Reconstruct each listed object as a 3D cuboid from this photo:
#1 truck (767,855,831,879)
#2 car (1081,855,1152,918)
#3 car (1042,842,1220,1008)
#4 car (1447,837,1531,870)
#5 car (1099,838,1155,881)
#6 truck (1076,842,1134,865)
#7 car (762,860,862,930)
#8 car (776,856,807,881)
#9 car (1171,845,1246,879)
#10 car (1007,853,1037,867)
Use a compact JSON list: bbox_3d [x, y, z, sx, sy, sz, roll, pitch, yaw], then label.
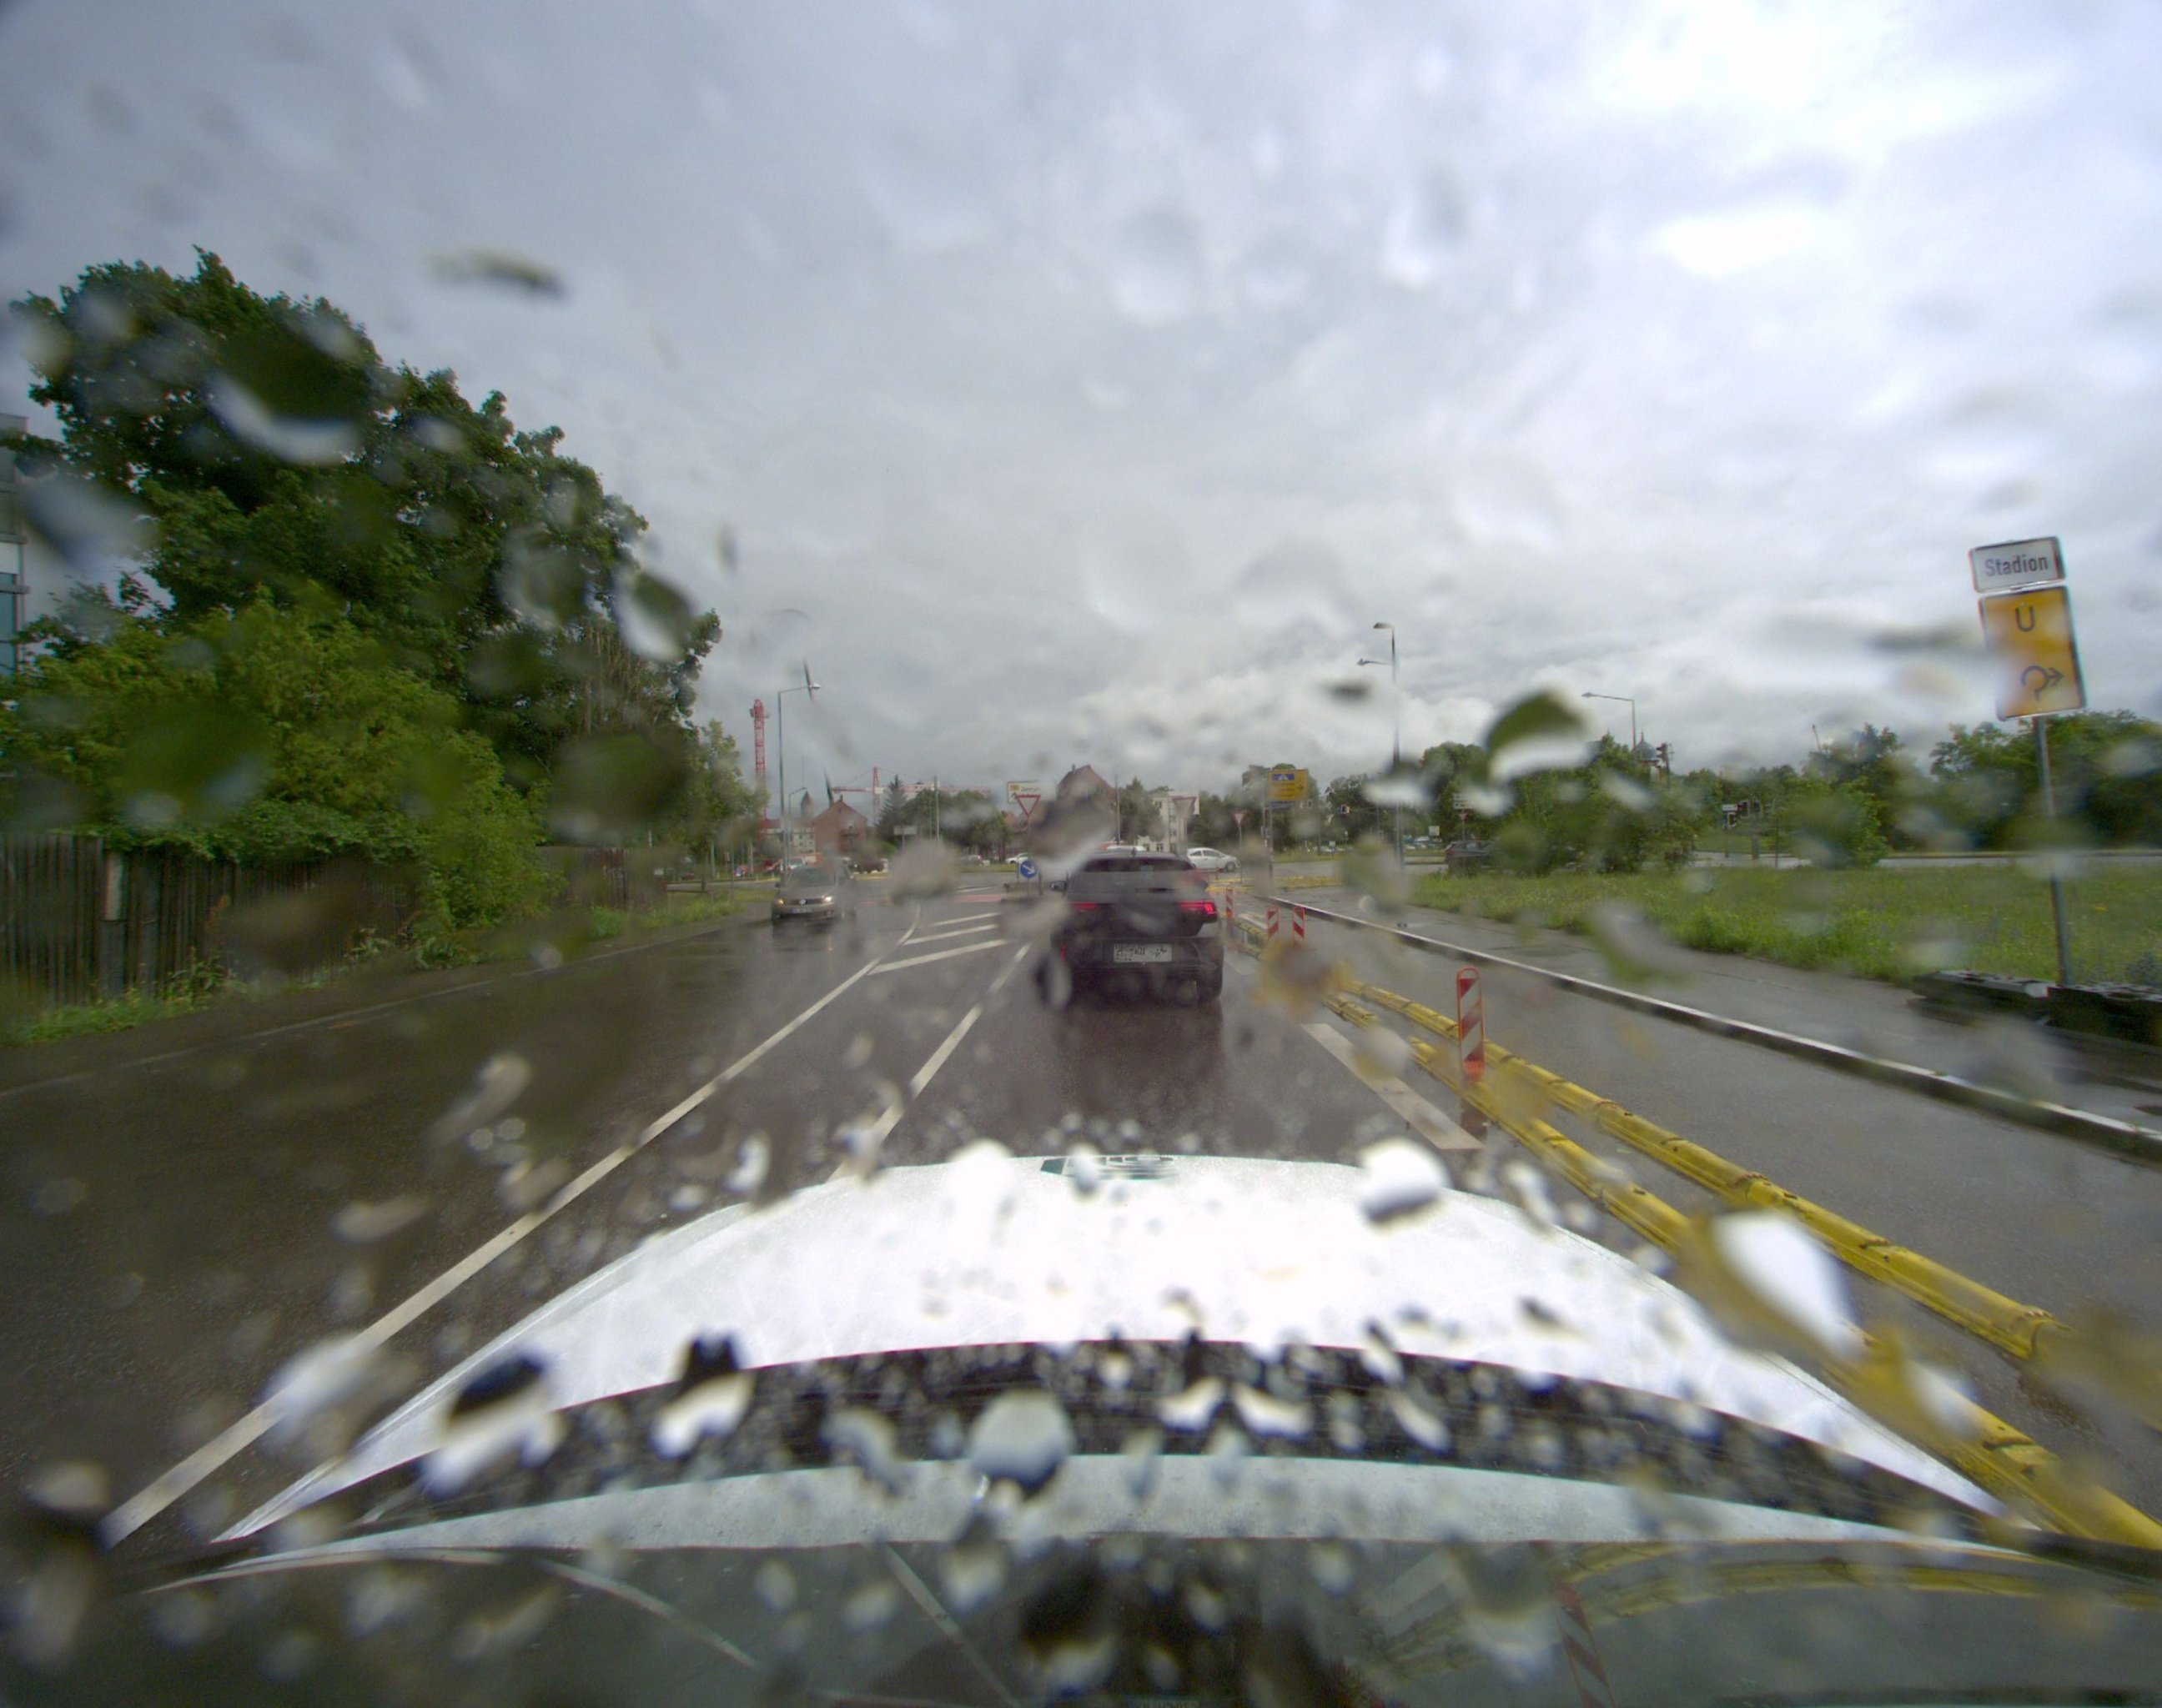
[{"bbox_3d":[-31.997,1.455,92.436,6.731,2.442,2.415,-2,0,-23],"label":"truck"},{"bbox_3d":[0.880,0.812,22.130,1.730,1.514,3.603,-1,0,0],"label":"car"},{"bbox_3d":[0.450,0.691,9.724,1.704,1.574,3.681,-1,0,-1],"label":"car"},{"bbox_3d":[22.284,-0.020,44.619,3.908,1.644,1.679,-1,0,20],"label":"car"},{"bbox_3d":[2.162,0.240,37.135,1.851,1.809,4.419,-1,0,12],"label":"car"},{"bbox_3d":[2.884,-0.104,101.182,7.047,2.650,2.328,-1,0,-2],"label":"truck"},{"bbox_3d":[-7.178,1.018,22.159,1.781,1.552,4.411,-5,0,-9],"label":"car"},{"bbox_3d":[-22.660,1.112,63.828,1.892,1.876,5.104,-2,0,-16],"label":"car"},{"bbox_3d":[7.647,0.473,49.098,3.990,1.830,1.992,-2,0,-12],"label":"car"},{"bbox_3d":[-7.457,0.773,103.293,3.505,1.584,1.557,-1,0,-18],"label":"car"}]
